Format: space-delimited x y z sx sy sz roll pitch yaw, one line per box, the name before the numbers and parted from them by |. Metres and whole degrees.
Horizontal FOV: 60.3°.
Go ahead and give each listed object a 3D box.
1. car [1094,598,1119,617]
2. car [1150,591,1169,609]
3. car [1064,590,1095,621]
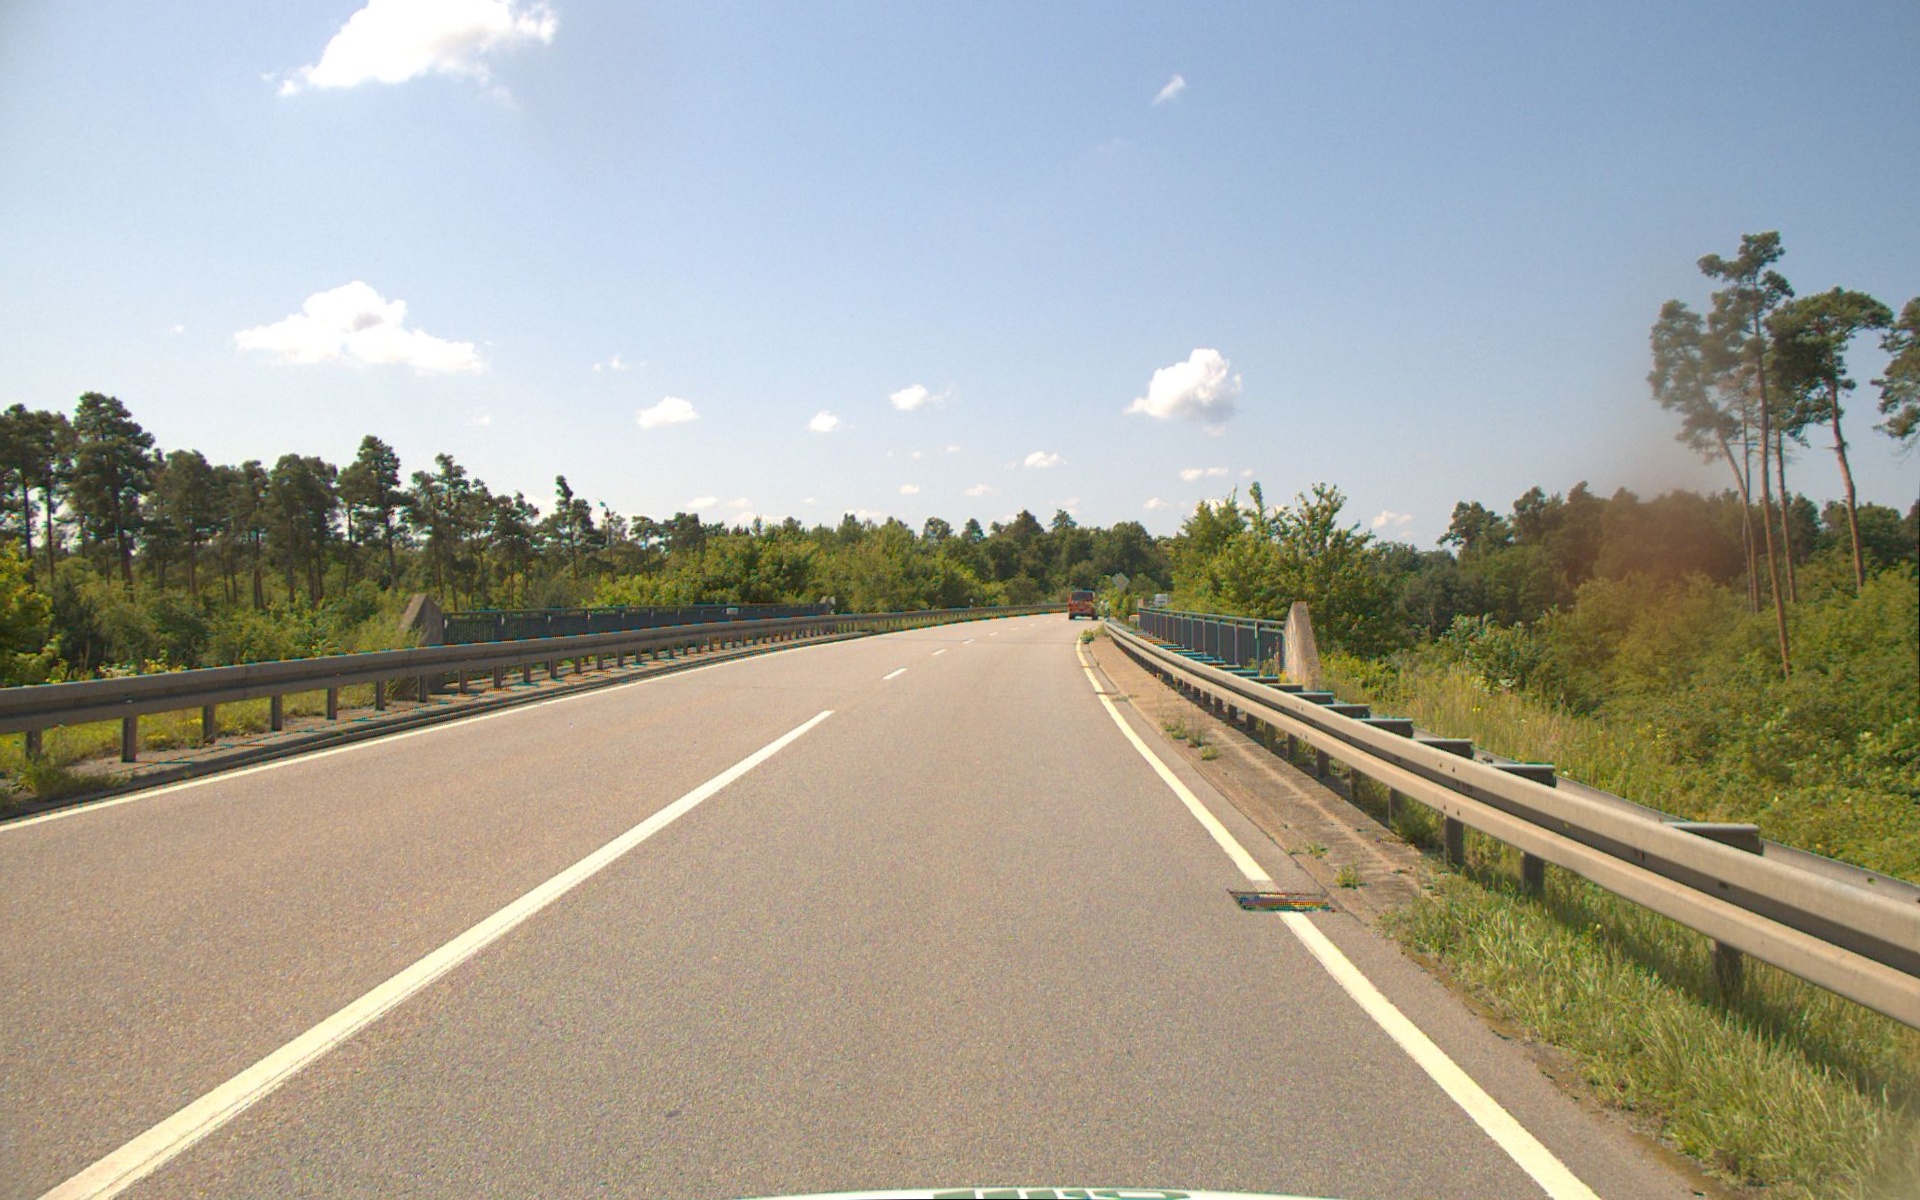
car | 12.055 0.631 135.956 1.965 1.520 4.240 1 0 4
car | 23.492 -0.009 194.573 2.138 1.989 5.808 2 0 7
car | 8.261 0.410 114.026 2.034 2.028 5.114 1 0 4
